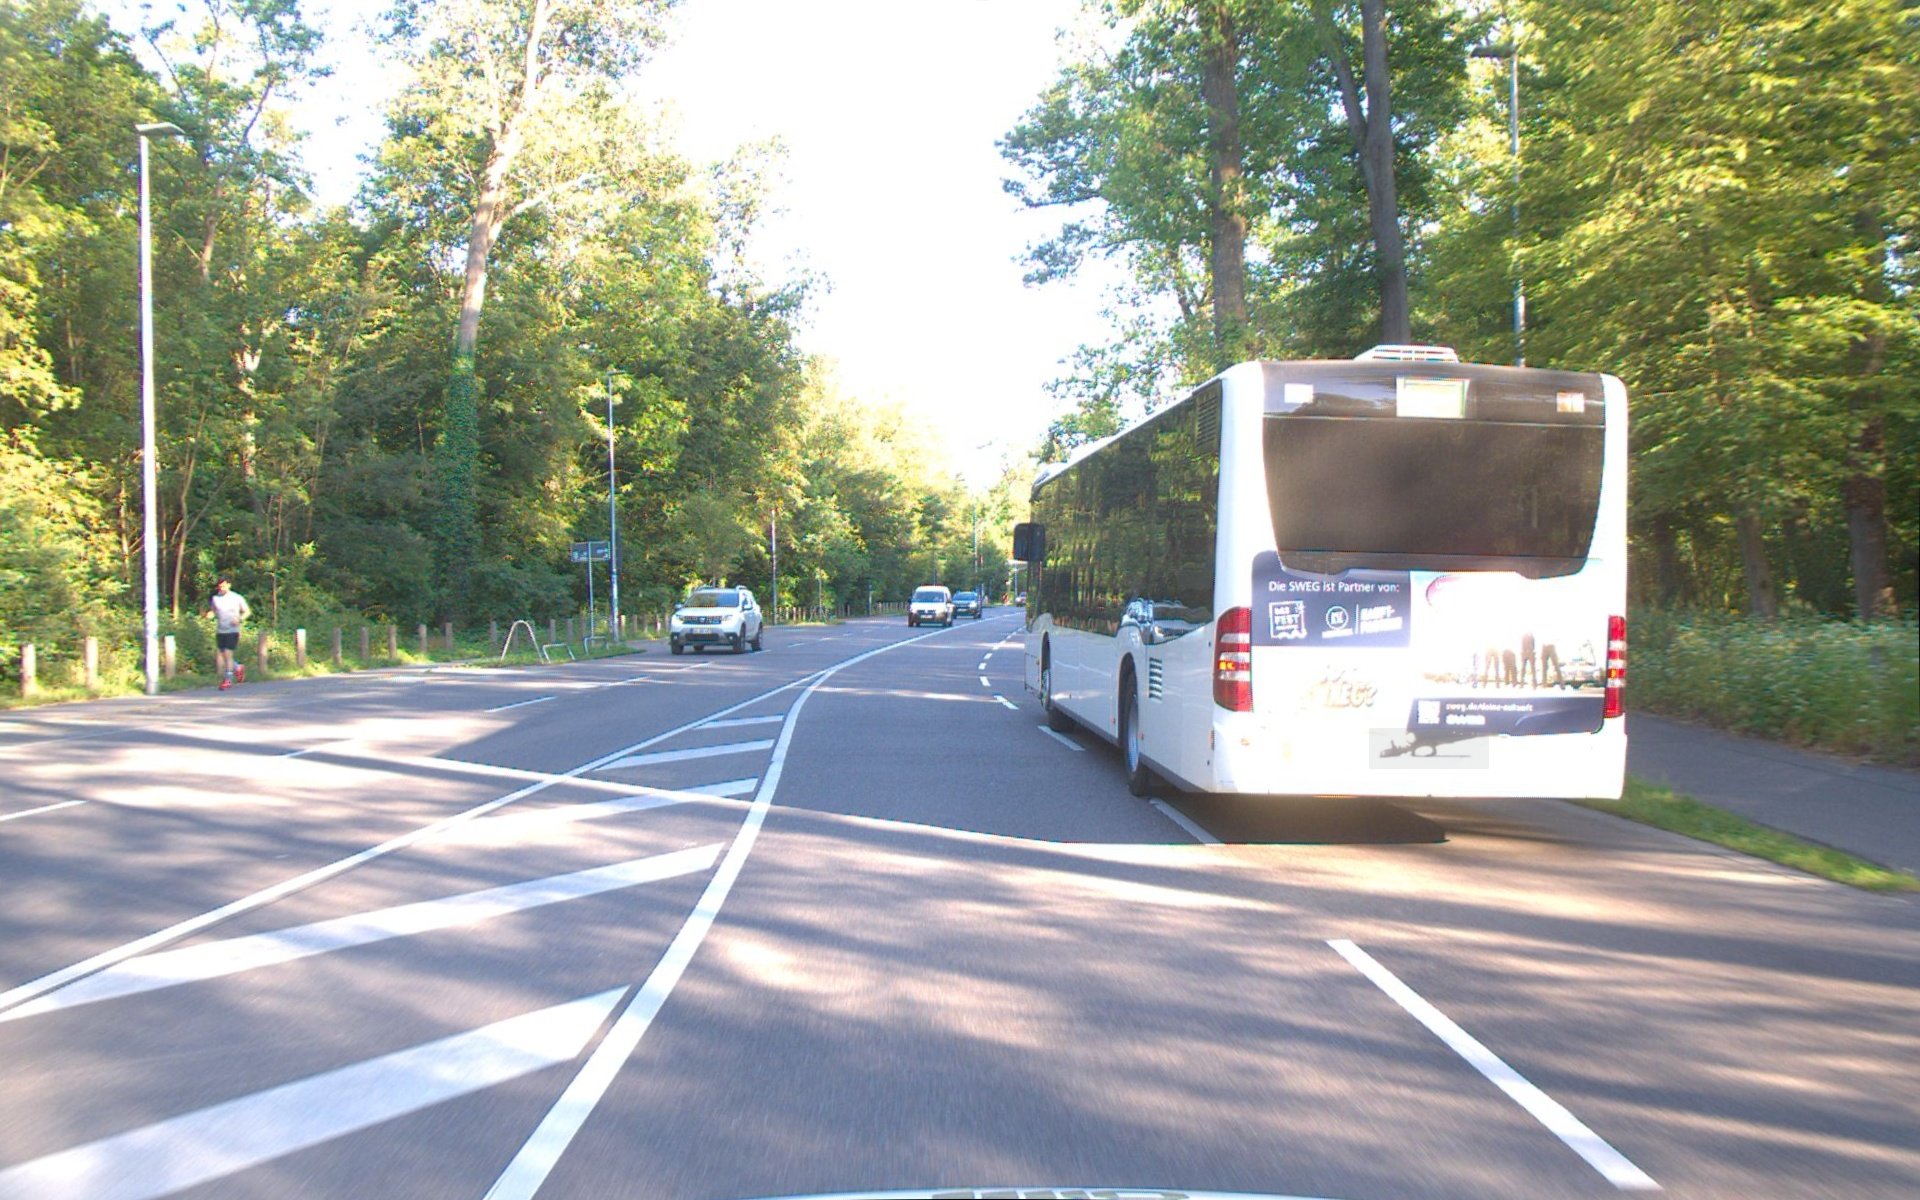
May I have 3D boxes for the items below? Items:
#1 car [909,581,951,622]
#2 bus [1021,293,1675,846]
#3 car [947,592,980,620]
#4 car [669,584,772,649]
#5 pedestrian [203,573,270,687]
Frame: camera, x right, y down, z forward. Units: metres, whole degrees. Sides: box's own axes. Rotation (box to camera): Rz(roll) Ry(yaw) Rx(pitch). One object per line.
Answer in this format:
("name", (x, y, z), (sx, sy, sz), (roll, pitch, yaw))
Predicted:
("car", (-1.340, 0.084, 74.651), (1.825, 1.759, 4.000), (0, 0, 0))
("bus", (2.431, -0.136, 15.354), (2.636, 3.096, 12.033), (0, 0, -3))
("car", (0.229, 0.343, 97.844), (1.824, 1.592, 4.000), (0, 0, 1))
("car", (-6.024, 0.416, 42.058), (1.824, 1.564, 4.133), (0, 0, 3))
("pedestrian", (-11.909, 0.486, 27.237), (0.763, 1.844, 0.770), (0, 0, -1))
